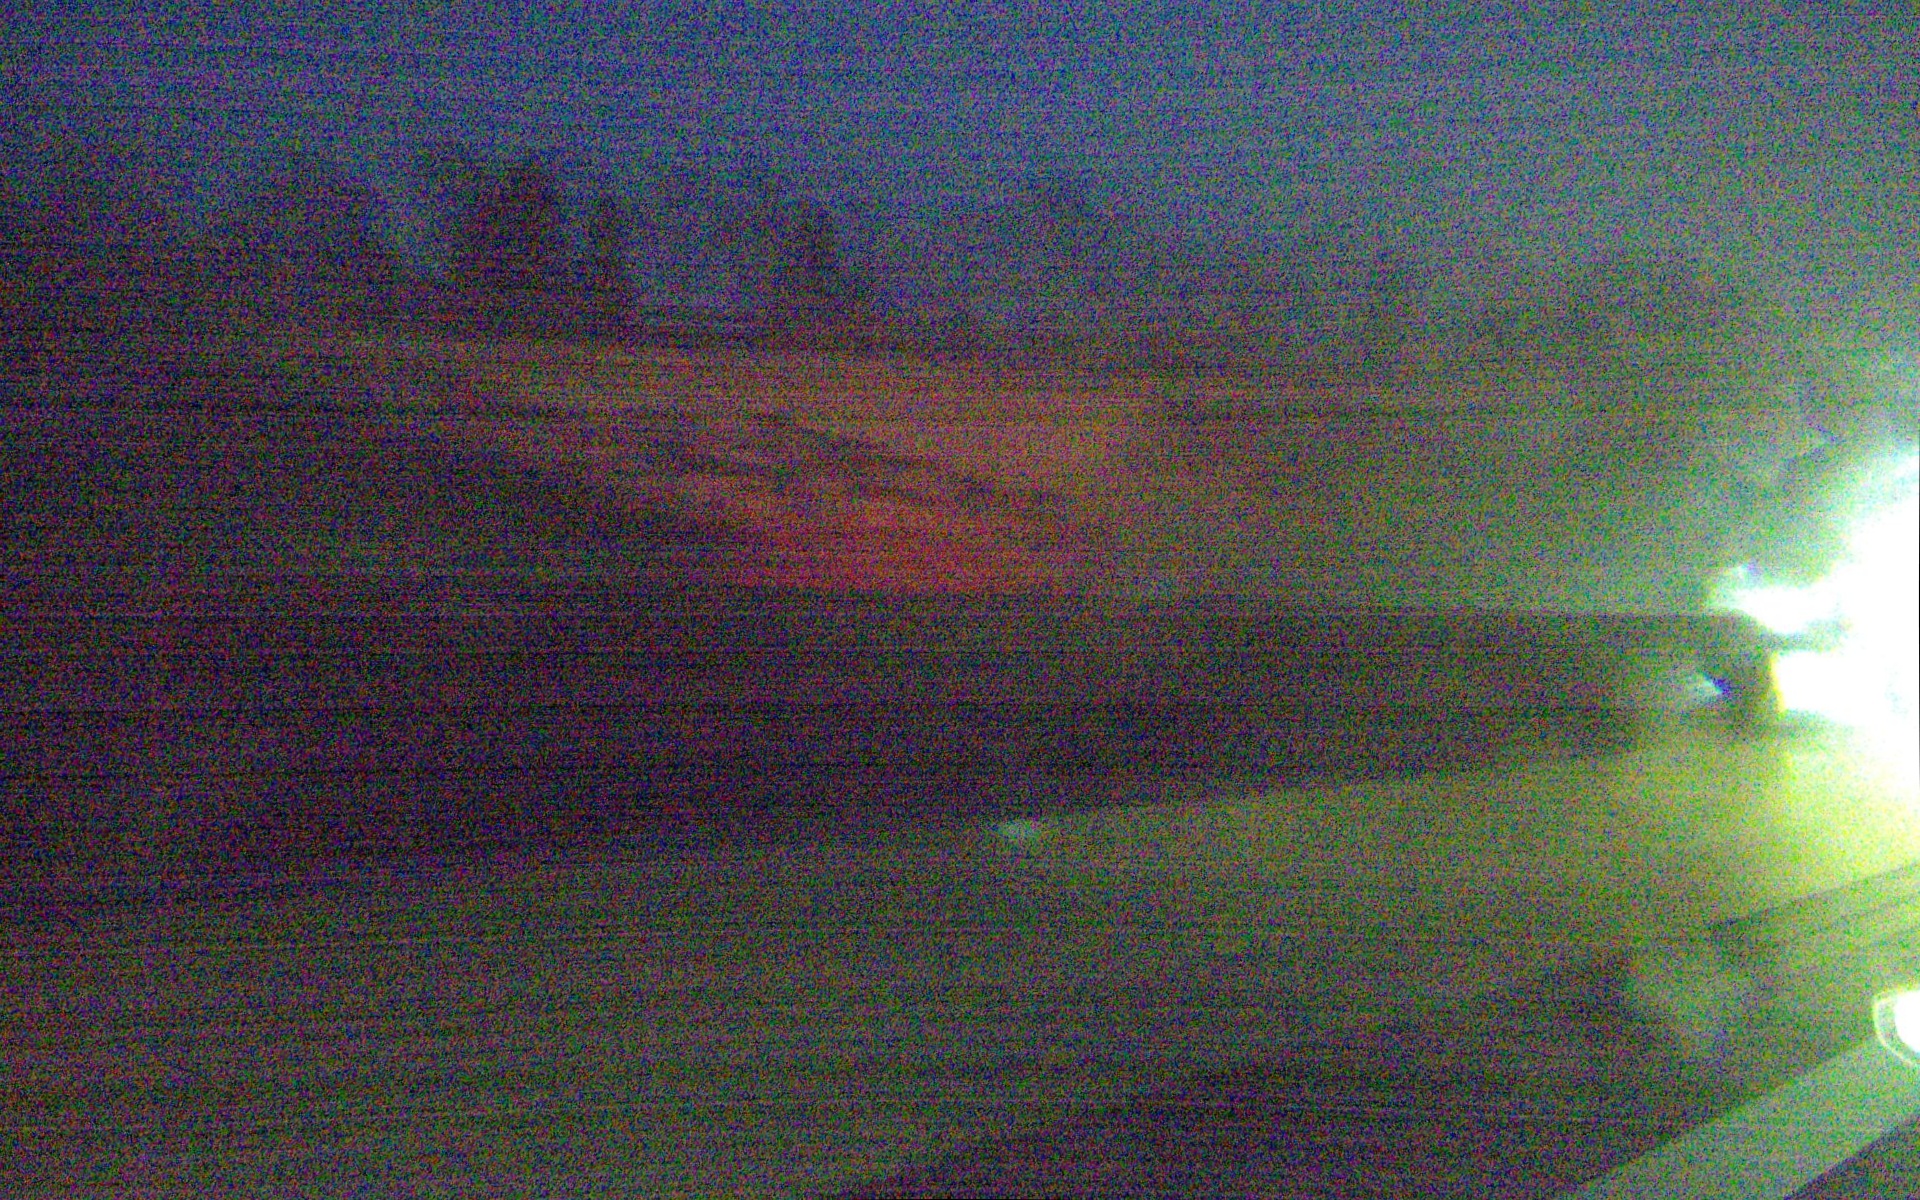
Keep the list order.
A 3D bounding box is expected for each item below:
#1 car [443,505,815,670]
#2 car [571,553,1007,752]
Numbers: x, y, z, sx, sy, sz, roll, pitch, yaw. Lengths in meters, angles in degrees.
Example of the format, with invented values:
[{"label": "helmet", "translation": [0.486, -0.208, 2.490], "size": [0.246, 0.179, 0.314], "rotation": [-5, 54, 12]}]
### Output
[{"label": "car", "translation": [-3.991, -0.209, 12.179], "size": [3.954, 1.686, 1.983], "rotation": [0, 5, -31]}, {"label": "car", "translation": [-2.114, 0.522, 12.878], "size": [5.127, 2.041, 1.983], "rotation": [0, 5, -30]}]
